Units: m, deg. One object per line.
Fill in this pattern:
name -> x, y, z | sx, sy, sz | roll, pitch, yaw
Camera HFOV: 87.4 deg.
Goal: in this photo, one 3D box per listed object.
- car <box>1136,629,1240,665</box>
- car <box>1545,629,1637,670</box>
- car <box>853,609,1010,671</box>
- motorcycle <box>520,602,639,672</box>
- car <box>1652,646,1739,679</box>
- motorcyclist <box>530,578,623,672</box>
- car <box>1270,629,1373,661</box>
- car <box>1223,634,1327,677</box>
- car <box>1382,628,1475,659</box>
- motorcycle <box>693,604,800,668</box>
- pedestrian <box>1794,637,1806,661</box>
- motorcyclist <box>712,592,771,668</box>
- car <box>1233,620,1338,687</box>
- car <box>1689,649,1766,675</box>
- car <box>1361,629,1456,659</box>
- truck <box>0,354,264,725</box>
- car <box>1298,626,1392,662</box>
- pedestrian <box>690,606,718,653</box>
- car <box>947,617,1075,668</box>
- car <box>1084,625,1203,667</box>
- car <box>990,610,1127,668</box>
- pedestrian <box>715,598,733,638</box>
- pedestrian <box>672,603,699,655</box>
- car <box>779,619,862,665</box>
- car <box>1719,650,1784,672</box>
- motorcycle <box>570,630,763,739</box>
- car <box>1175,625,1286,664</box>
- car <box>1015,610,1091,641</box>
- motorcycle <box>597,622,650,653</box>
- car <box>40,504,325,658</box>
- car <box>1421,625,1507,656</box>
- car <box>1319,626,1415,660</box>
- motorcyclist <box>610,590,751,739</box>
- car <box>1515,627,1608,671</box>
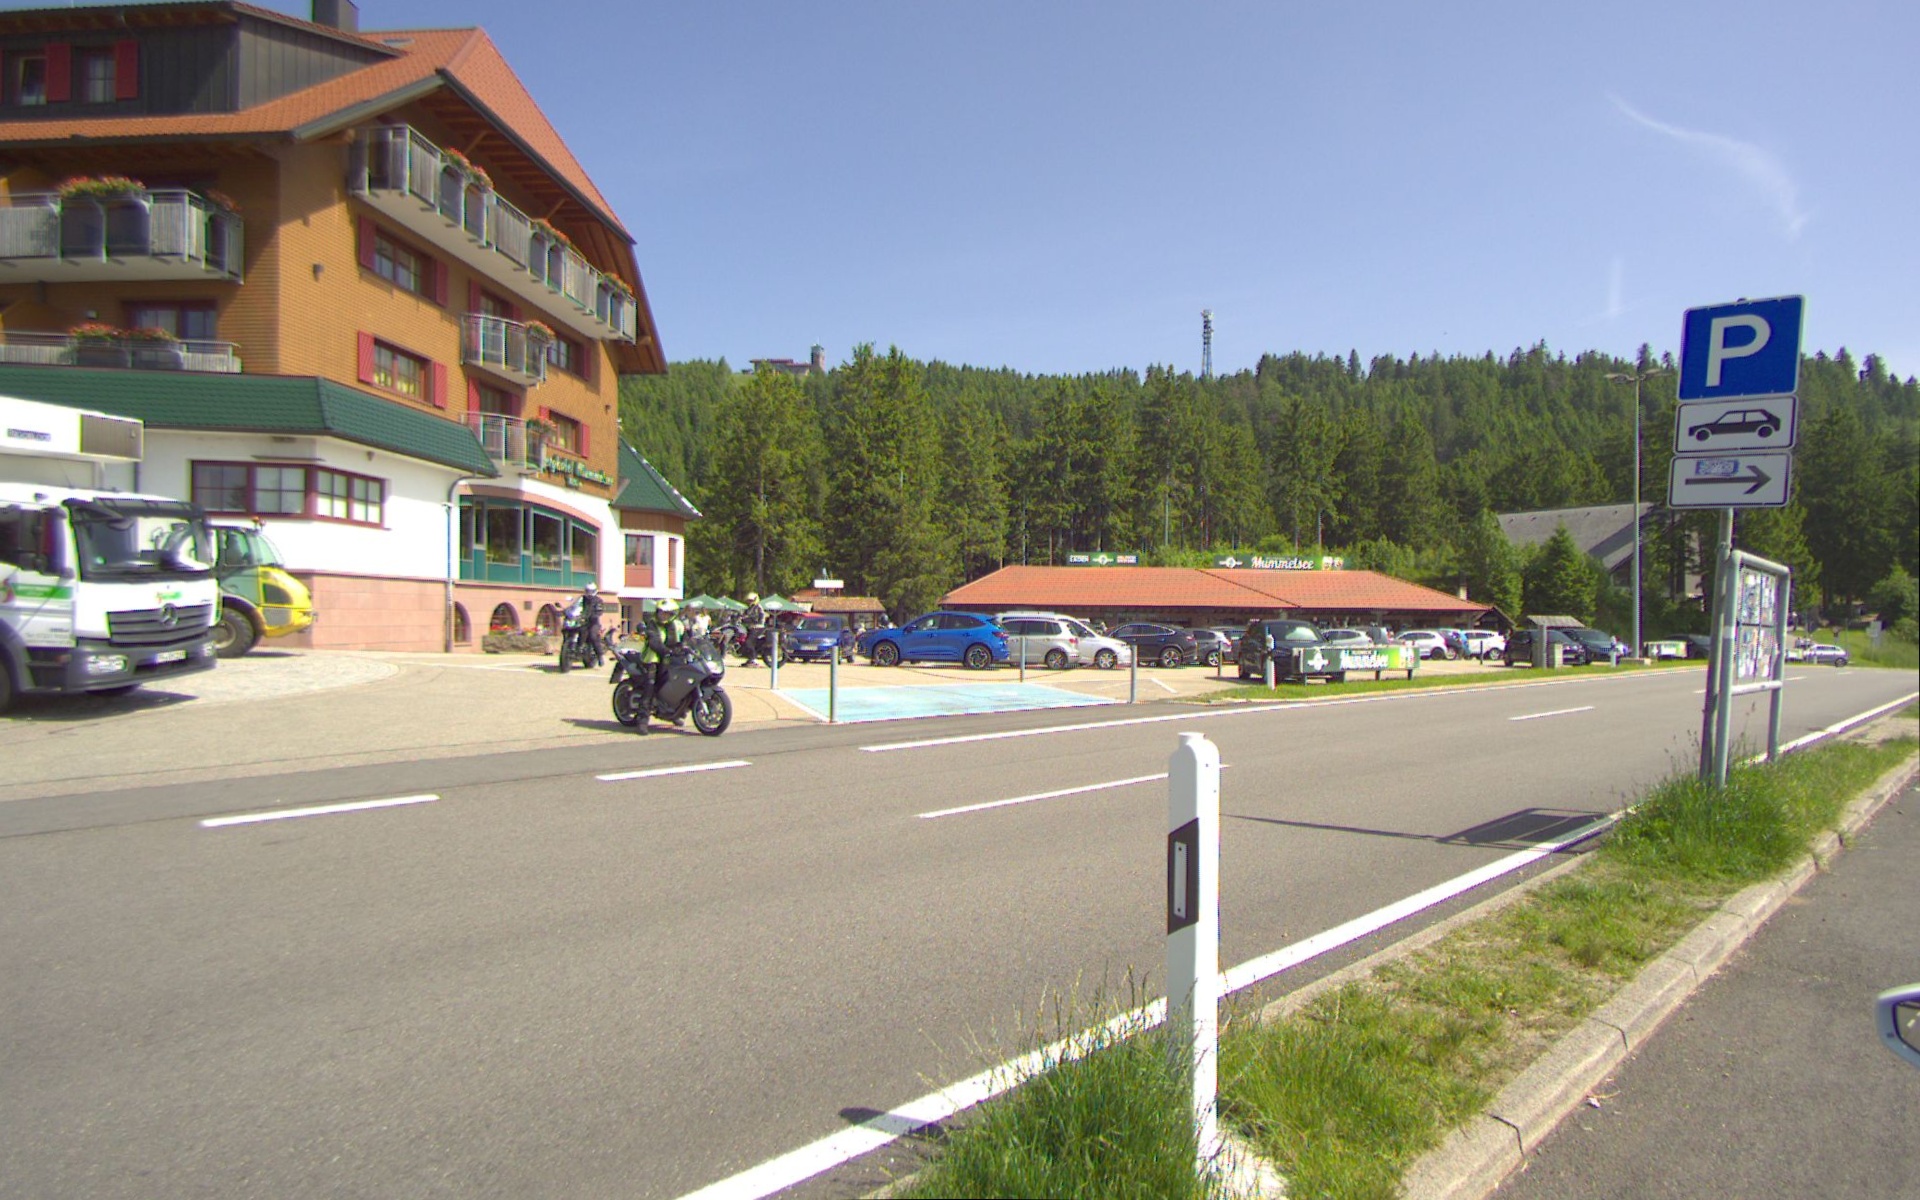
car -> 8.556, 1.756, 37.887 | 3.567, 1.339, 1.588 | 0, -1, 1
car -> 27.478, 2.122, 43.916 | 1.705, 1.588, 4.062 | 1, -1, 4
car -> -0.764, 1.155, 29.601 | 4.454, 1.686, 1.940 | 1, -1, 3
motorcycle -> -7.543, 0.724, 20.040 | 0.862, 1.273, 2.277 | 3, 0, 22
car -> 41.734, 3.534, 57.096 | 1.754, 1.655, 4.211 | 2, -2, -2
motorcyclist -> -7.600, 0.493, 19.961 | 0.908, 1.740, 1.452 | 3, 0, 22
car -> 15.836, 1.965, 44.134 | 3.920, 1.389, 1.813 | 0, -1, 3
car -> 13.120, 2.300, 42.007 | 3.919, 1.726, 1.827 | 0, -1, 9
car -> 24.465, 2.243, 52.569 | 3.919, 1.595, 2.001 | 0, -1, 4
motorcycle -> -5.161, 0.875, 24.474 | 2.400, 1.425, 1.005 | 3, -1, -8
pedestrian -> 65.261, 3.834, 78.044 | 0.645, 1.823, 0.639 | 1, 0, 42
motorcyclist -> -5.304, 0.718, 24.475 | 1.225, 1.742, 1.063 | 3, -1, -8
car -> 8.206, 1.290, 25.691 | 1.771, 1.560, 4.195 | 0, -1, 7
car -> 46.297, 3.706, 60.665 | 1.709, 1.460, 3.972 | 0, -2, 2
car -> 22.444, 2.200, 50.379 | 3.919, 1.439, 1.909 | 0, -1, 4
truck -> -14.013, -0.868, 12.255 | 8.605, 4.025, 3.067 | 3, 2, -5
car -> 17.689, 2.016, 46.267 | 3.657, 1.609, 1.736 | 0, -1, 4
pedestrian -> -8.298, 0.941, 32.569 | 0.613, 1.509, 0.703 | 0, -1, 12
car -> 1.647, 1.317, 31.711 | 3.919, 1.566, 2.001 | 0, -1, 5
car -> 6.447, 1.614, 35.628 | 3.920, 1.449, 1.915 | 0, -1, 3
car -> 3.281, 1.282, 33.565 | 4.438, 1.888, 1.836 | 0, -1, 6
pedestrian -> -13.828, 1.075, 58.807 | 0.805, 2.314, 0.727 | -2, 0, -25
pedestrian -> -8.908, 0.942, 32.620 | 0.613, 1.654, 0.703 | 0, -1, 12
car -> -4.243, 1.257, 31.173 | 1.679, 1.314, 4.002 | 0, -1, 5
car -> 54.696, 4.196, 69.437 | 3.306, 1.448, 1.585 | 0, -1, -2
motorcycle -> -3.635, 1.008, 12.444 | 2.242, 1.192, 0.824 | 1, 0, 21
car -> 10.726, 1.759, 40.025 | 3.997, 1.506, 1.717 | 0, -1, 3
car -> 4.740, 1.304, 51.577 | 3.804, 1.550, 1.911 | 0, -1, 1
motorcycle -> -12.583, 1.411, 37.554 | 1.757, 0.999, 0.480 | 4, 5, -5
car -> -14.472, -0.240, 18.997 | 3.962, 2.528, 1.980 | 4, -3, -36
car -> 28.480, 2.293, 56.853 | 3.950, 1.694, 1.777 | 0, -2, 2
car -> 19.583, 2.060, 48.479 | 3.919, 1.565, 1.900 | 0, -1, 5
motorcyclist -> -3.407, 0.748, 12.300 | 1.268, 1.697, 1.029 | 1, 0, 21
car -> 23.259, 1.851, 38.989 | 1.747, 1.572, 4.003 | 0, -1, 9
